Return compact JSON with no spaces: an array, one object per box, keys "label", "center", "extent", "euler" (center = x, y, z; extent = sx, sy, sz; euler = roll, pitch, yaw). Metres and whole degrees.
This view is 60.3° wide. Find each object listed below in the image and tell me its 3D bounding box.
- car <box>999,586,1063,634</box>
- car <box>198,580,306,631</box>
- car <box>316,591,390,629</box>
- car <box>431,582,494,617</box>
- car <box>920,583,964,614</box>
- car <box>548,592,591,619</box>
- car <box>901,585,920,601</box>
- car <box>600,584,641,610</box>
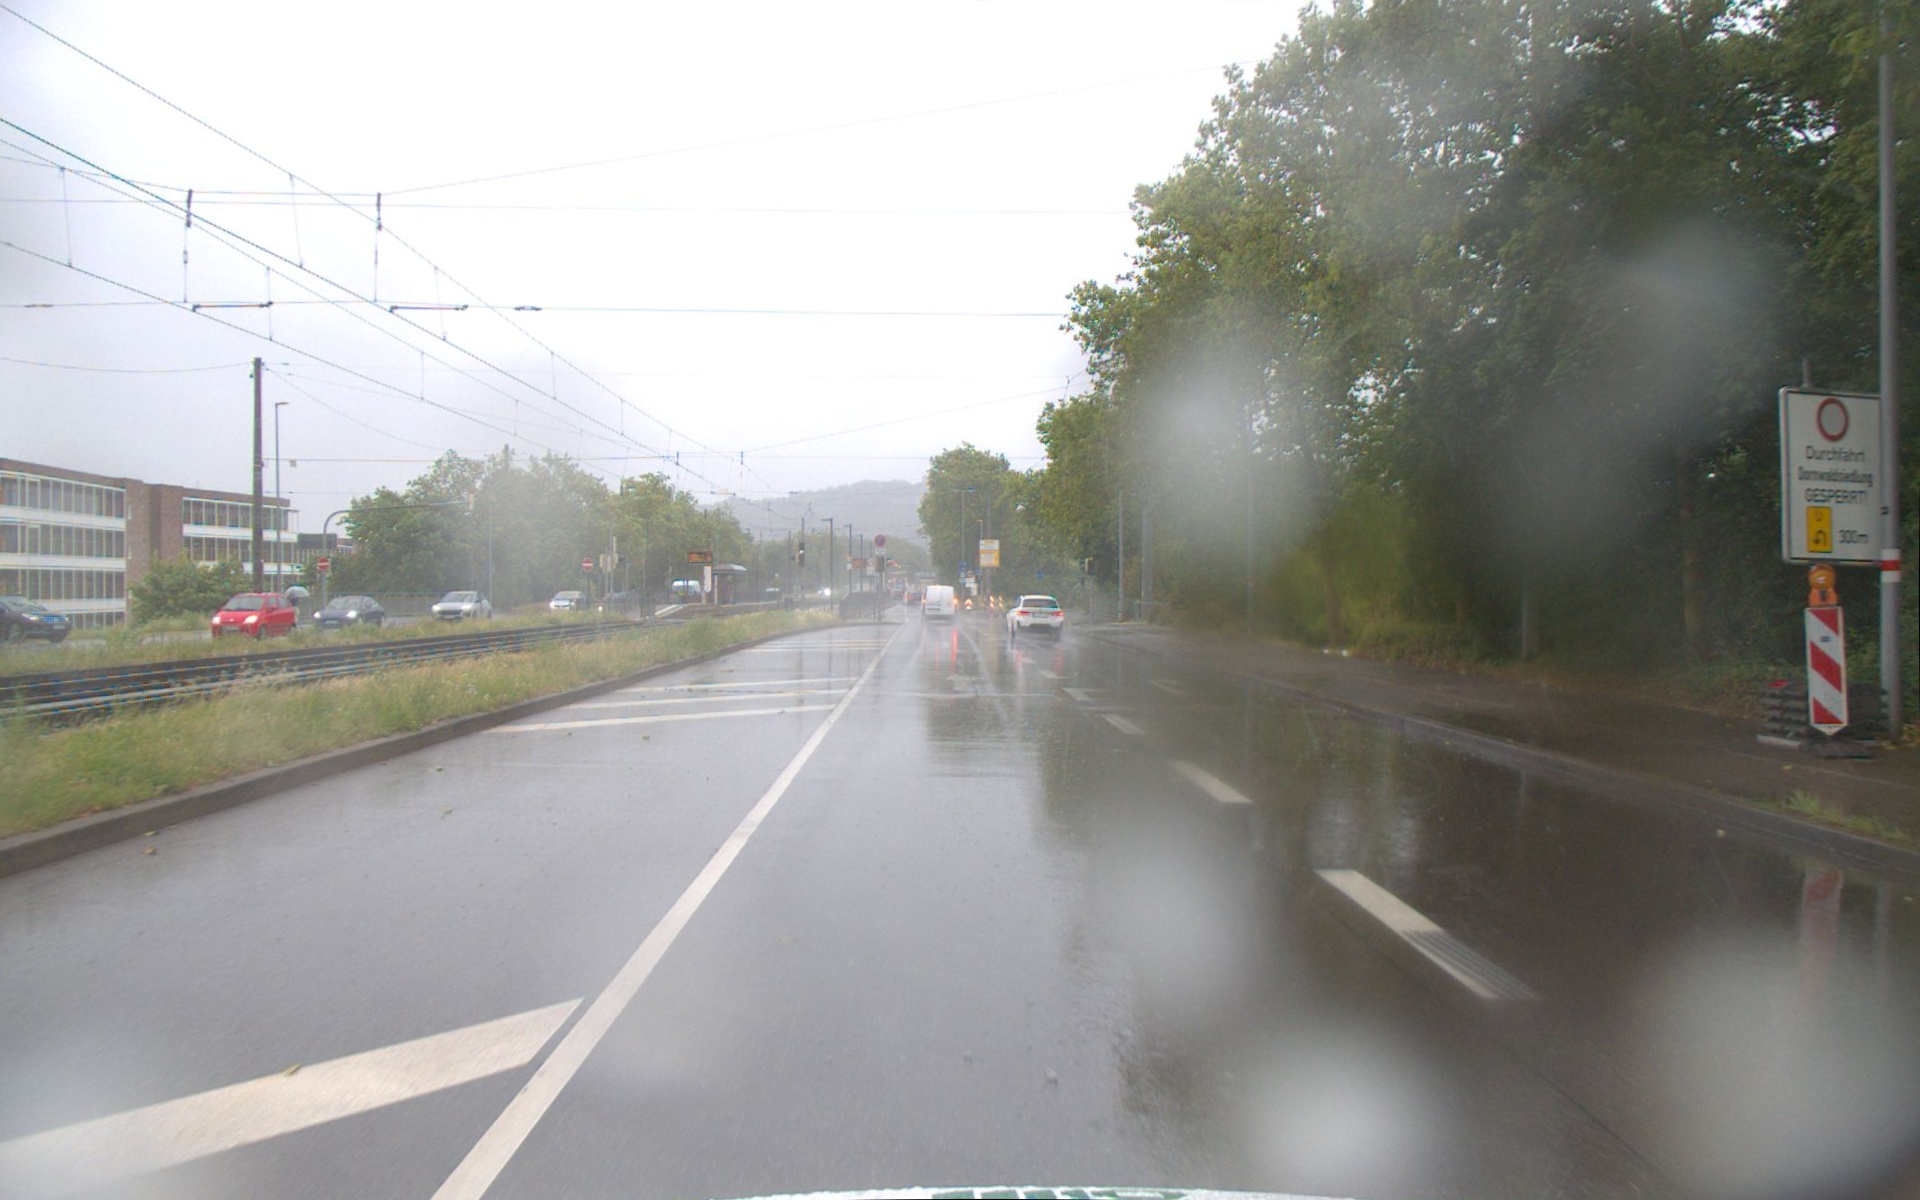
[{"label":"car","center":[2.438,0.329,57.676],"extent":[1.909,1.563,4.465],"euler":[1,0,-2]},{"label":"car","center":[-21.702,0.152,50.826],"extent":[1.685,1.520,3.999],"euler":[0,0,-2]},{"label":"car","center":[-25.220,0.391,68.855],"extent":[1.685,1.520,3.999],"euler":[0,0,-2]},{"label":"car","center":[-22.154,-0.031,73.766],"extent":[1.685,1.520,3.999],"euler":[0,0,-2]},{"label":"car","center":[-0.875,-0.088,79.150],"extent":[2.035,1.445,4.000],"euler":[0,0,-1]},{"label":"car","center":[-23.064,0.312,97.878],"extent":[1.685,1.520,3.999],"euler":[0,0,-2]},{"label":"car","center":[-5.202,-0.778,175.262],"extent":[1.953,1.574,3.999],"euler":[1,1,-2]},{"label":"car","center":[-20.347,-0.181,99.203],"extent":[1.685,1.520,3.999],"euler":[0,0,-2]}]
